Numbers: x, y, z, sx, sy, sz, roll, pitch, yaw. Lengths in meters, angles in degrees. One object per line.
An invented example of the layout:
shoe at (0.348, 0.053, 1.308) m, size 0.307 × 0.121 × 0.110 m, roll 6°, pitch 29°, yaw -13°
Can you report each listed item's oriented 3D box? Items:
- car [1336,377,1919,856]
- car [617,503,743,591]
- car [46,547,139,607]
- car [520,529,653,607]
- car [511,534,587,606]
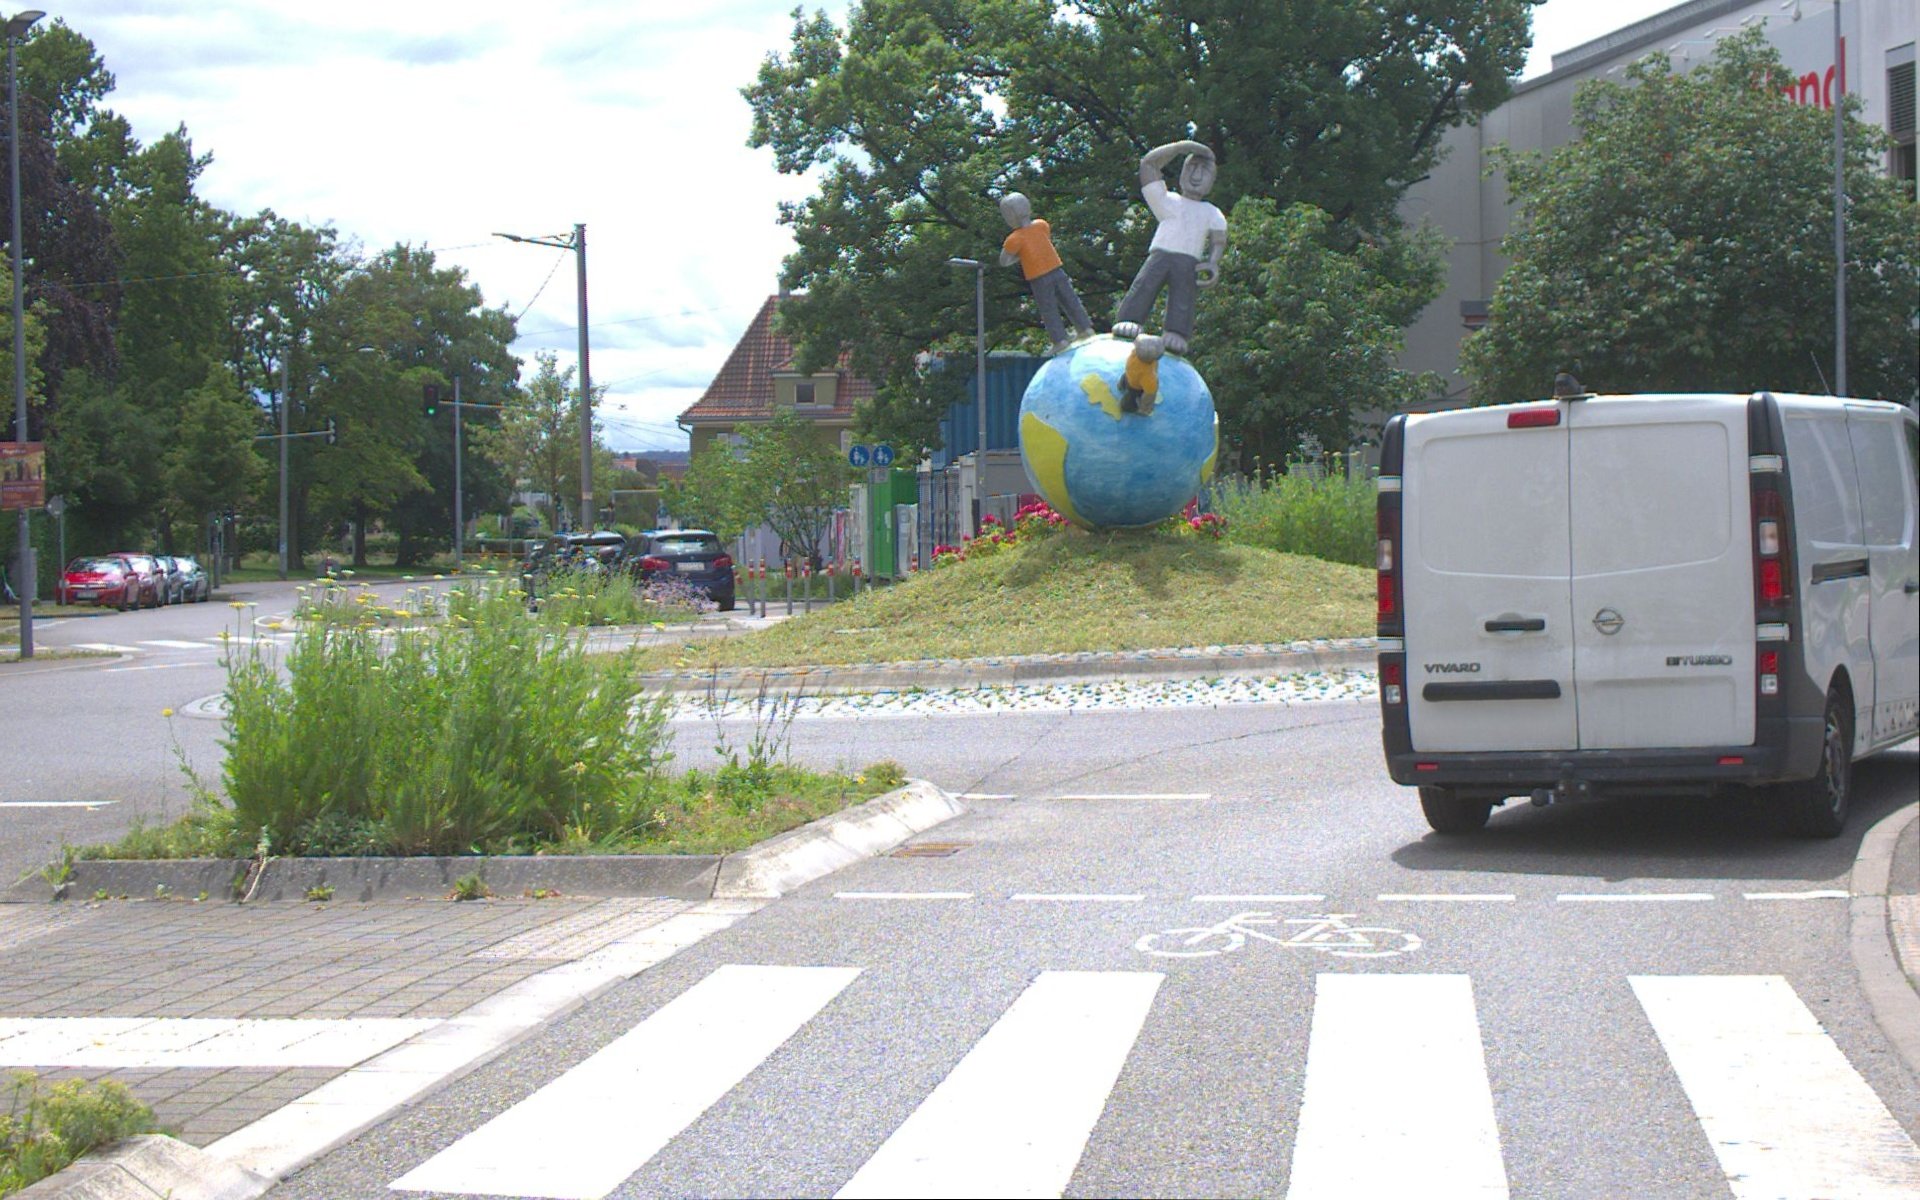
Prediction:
car at (3.615, -0.005, 16.631) m, size 2.037 × 1.938 × 4.987 m, roll 2°, pitch 2°, yaw 25°
car at (-5.253, -1.006, 64.049) m, size 1.932 × 1.532 × 3.926 m, roll -1°, pitch 2°, yaw -10°
car at (-22.243, -0.607, 88.071) m, size 2.062 × 1.381 × 4.049 m, roll -1°, pitch 2°, yaw -18°
car at (-7.810, -0.685, 71.690) m, size 1.919 × 1.495 × 3.926 m, roll -1°, pitch 2°, yaw -19°
car at (-10.707, -0.794, 89.626) m, size 1.897 × 1.738 × 3.926 m, roll -1°, pitch 2°, yaw -7°
